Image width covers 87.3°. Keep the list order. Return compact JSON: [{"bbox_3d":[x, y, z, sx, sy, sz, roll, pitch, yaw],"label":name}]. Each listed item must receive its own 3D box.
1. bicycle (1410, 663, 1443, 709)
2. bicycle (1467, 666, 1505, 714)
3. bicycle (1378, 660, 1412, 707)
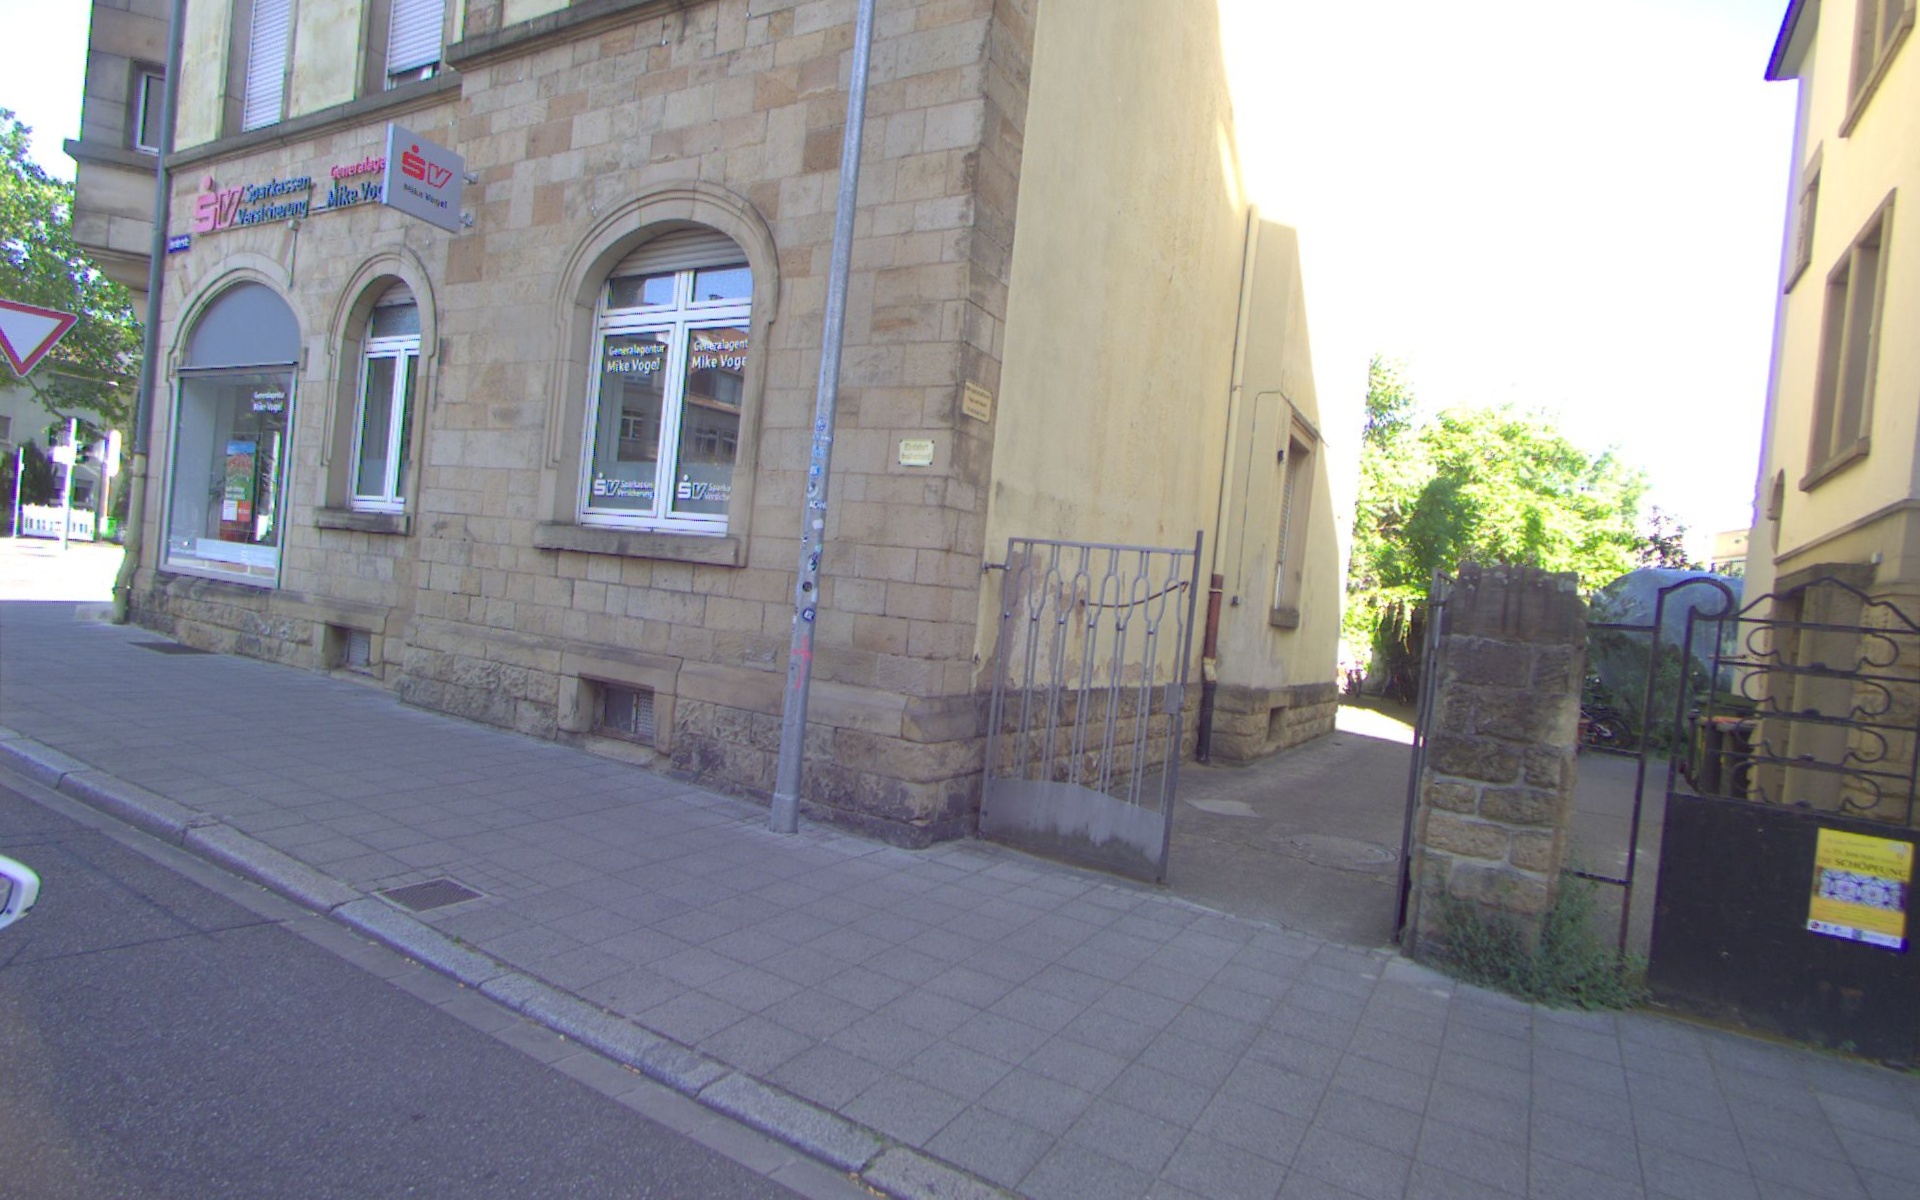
[{"bbox_3d":[11.497,2.100,24.808,0.642,1.022,1.985,4,-1,25],"label":"bicycle"},{"bbox_3d":[12.778,2.163,24.473,0.642,1.022,1.985,4,-1,25],"label":"bicycle"},{"bbox_3d":[10.858,2.063,25.095,0.641,1.022,1.985,6,0,25],"label":"bicycle"}]
